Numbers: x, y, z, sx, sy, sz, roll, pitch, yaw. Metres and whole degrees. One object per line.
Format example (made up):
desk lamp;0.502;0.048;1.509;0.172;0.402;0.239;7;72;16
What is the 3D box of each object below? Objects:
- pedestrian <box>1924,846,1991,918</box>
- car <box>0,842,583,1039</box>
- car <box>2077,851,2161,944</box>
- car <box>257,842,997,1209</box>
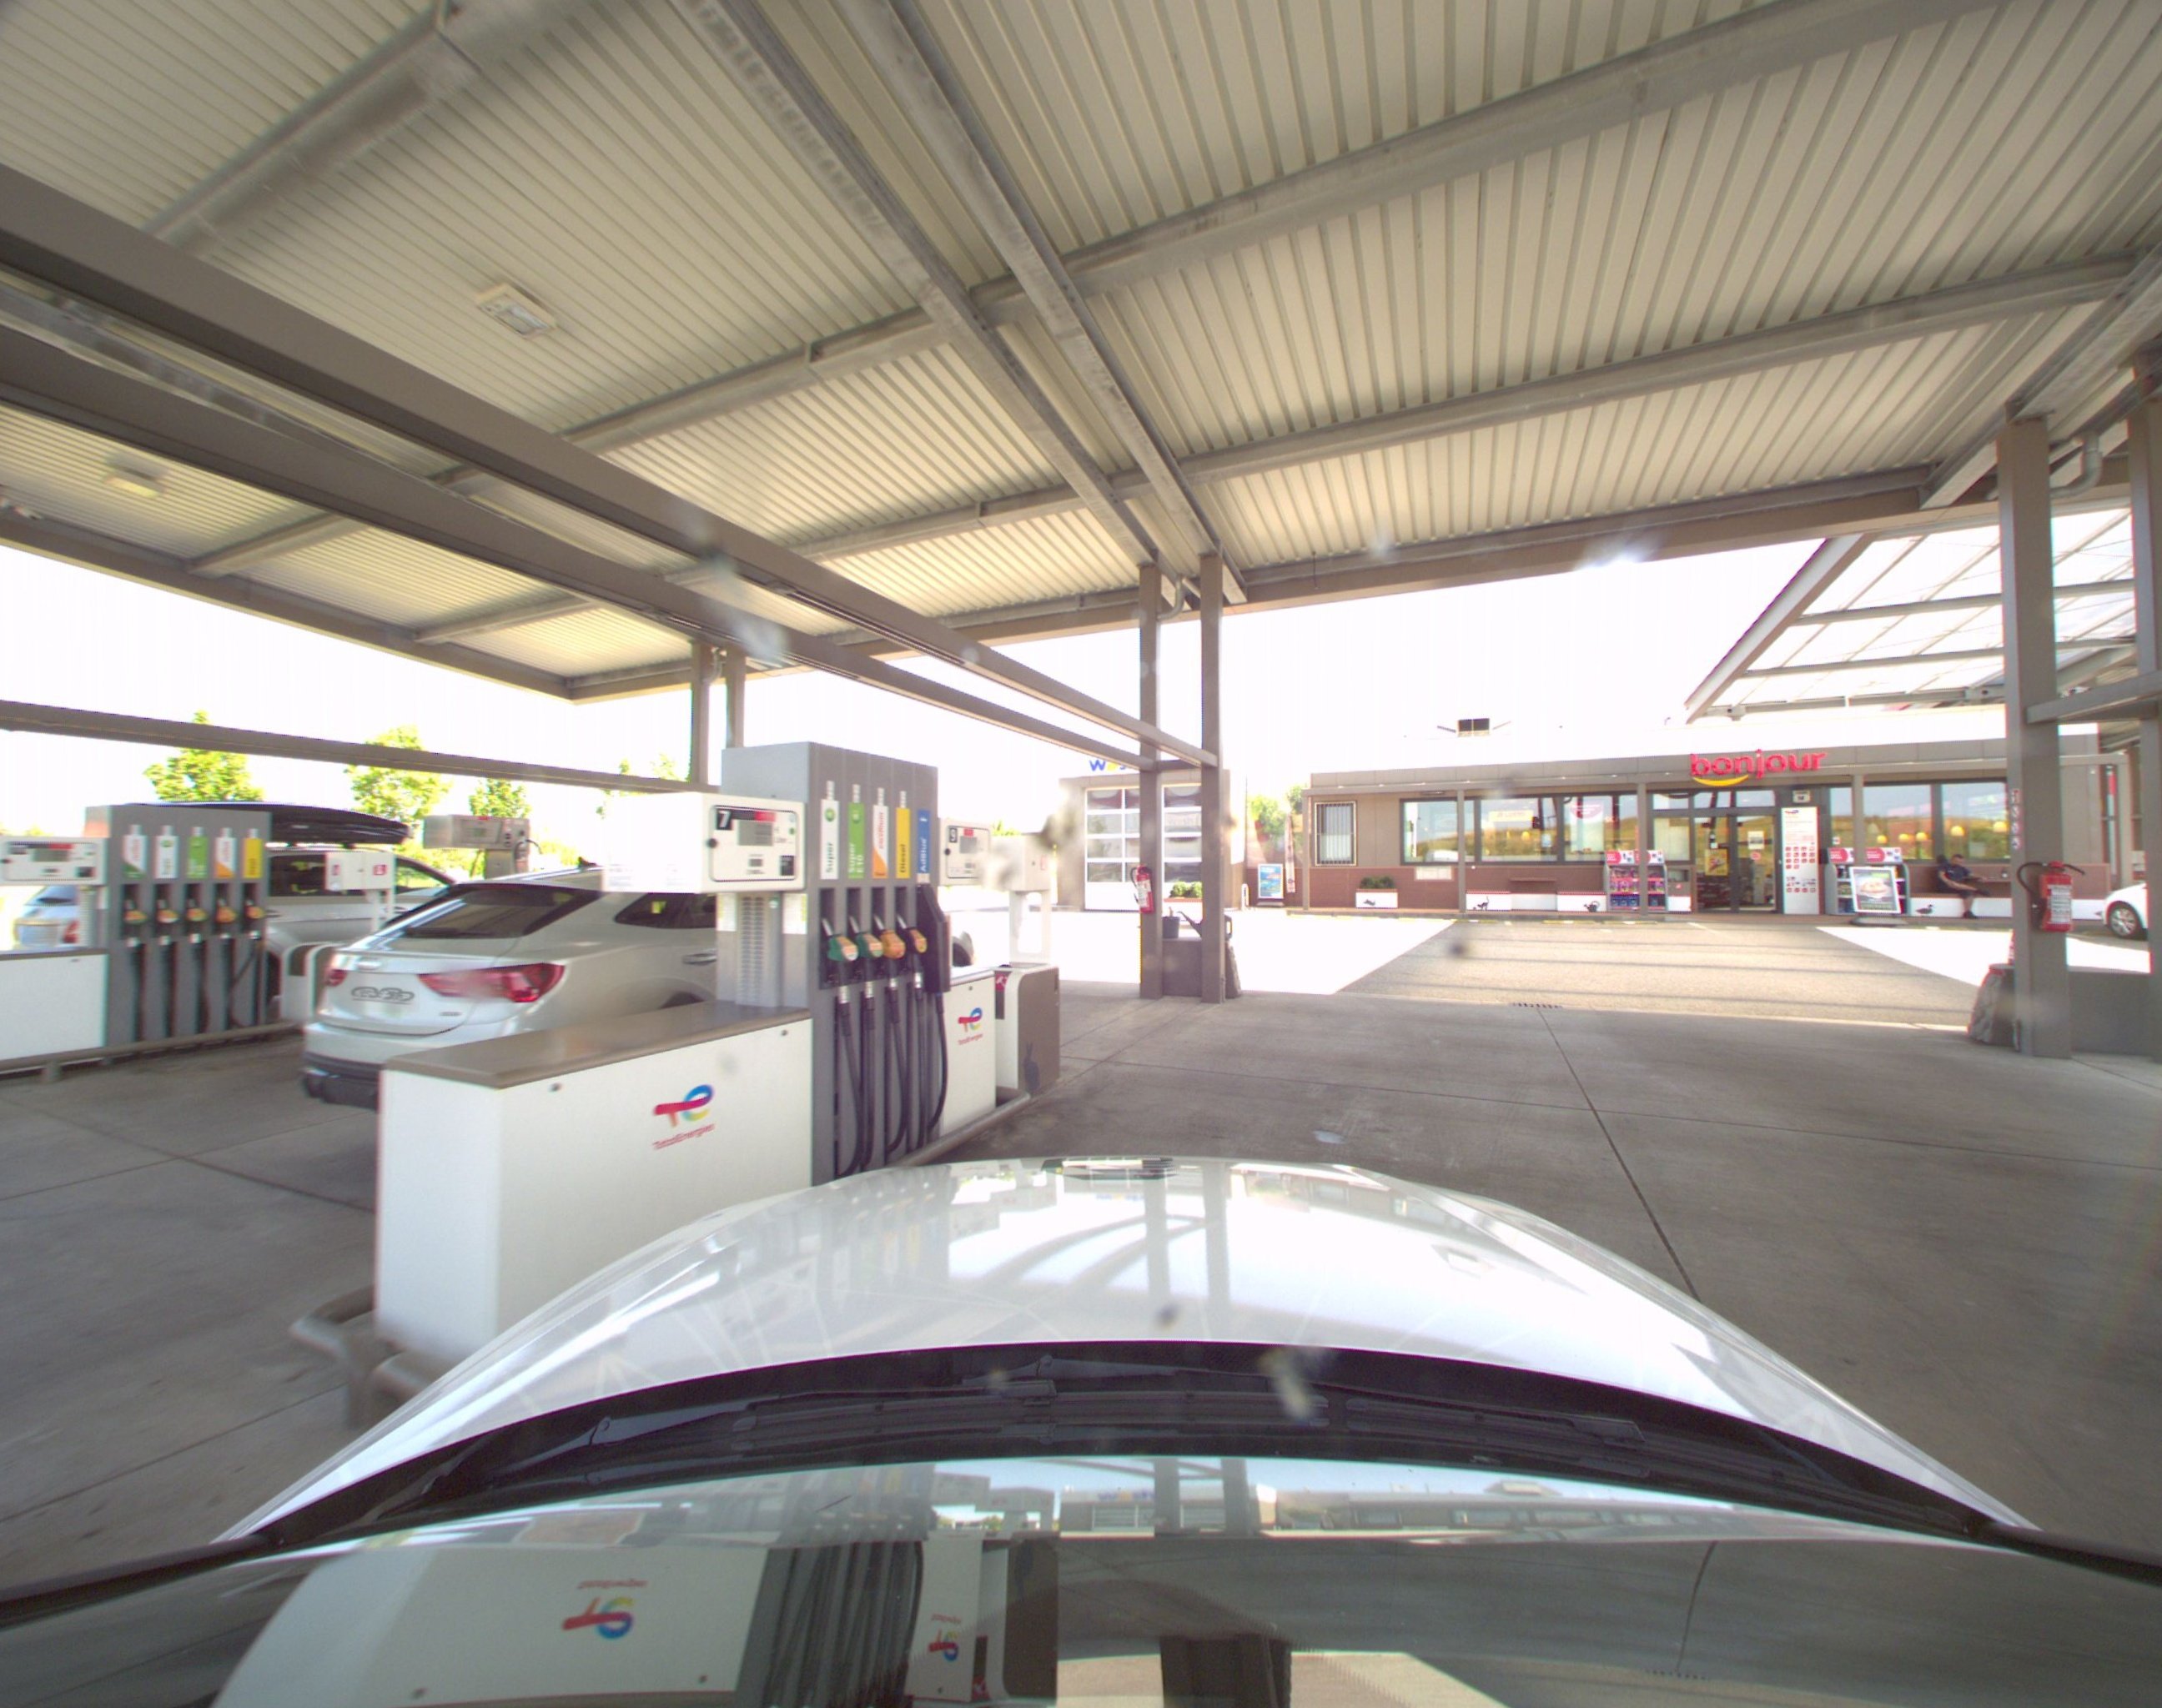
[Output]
pedestrian;17.871;0.560;16.630;0.695;1.432;0.676;-1;-1;24
car;-8.549;0.773;9.423;1.844;1.687;4.559;-1;-1;21
car;17.718;0.667;11.996;1.815;1.457;4.341;-1;-1;19
car;-2.487;0.757;5.774;1.764;1.541;4.350;-1;-1;25
